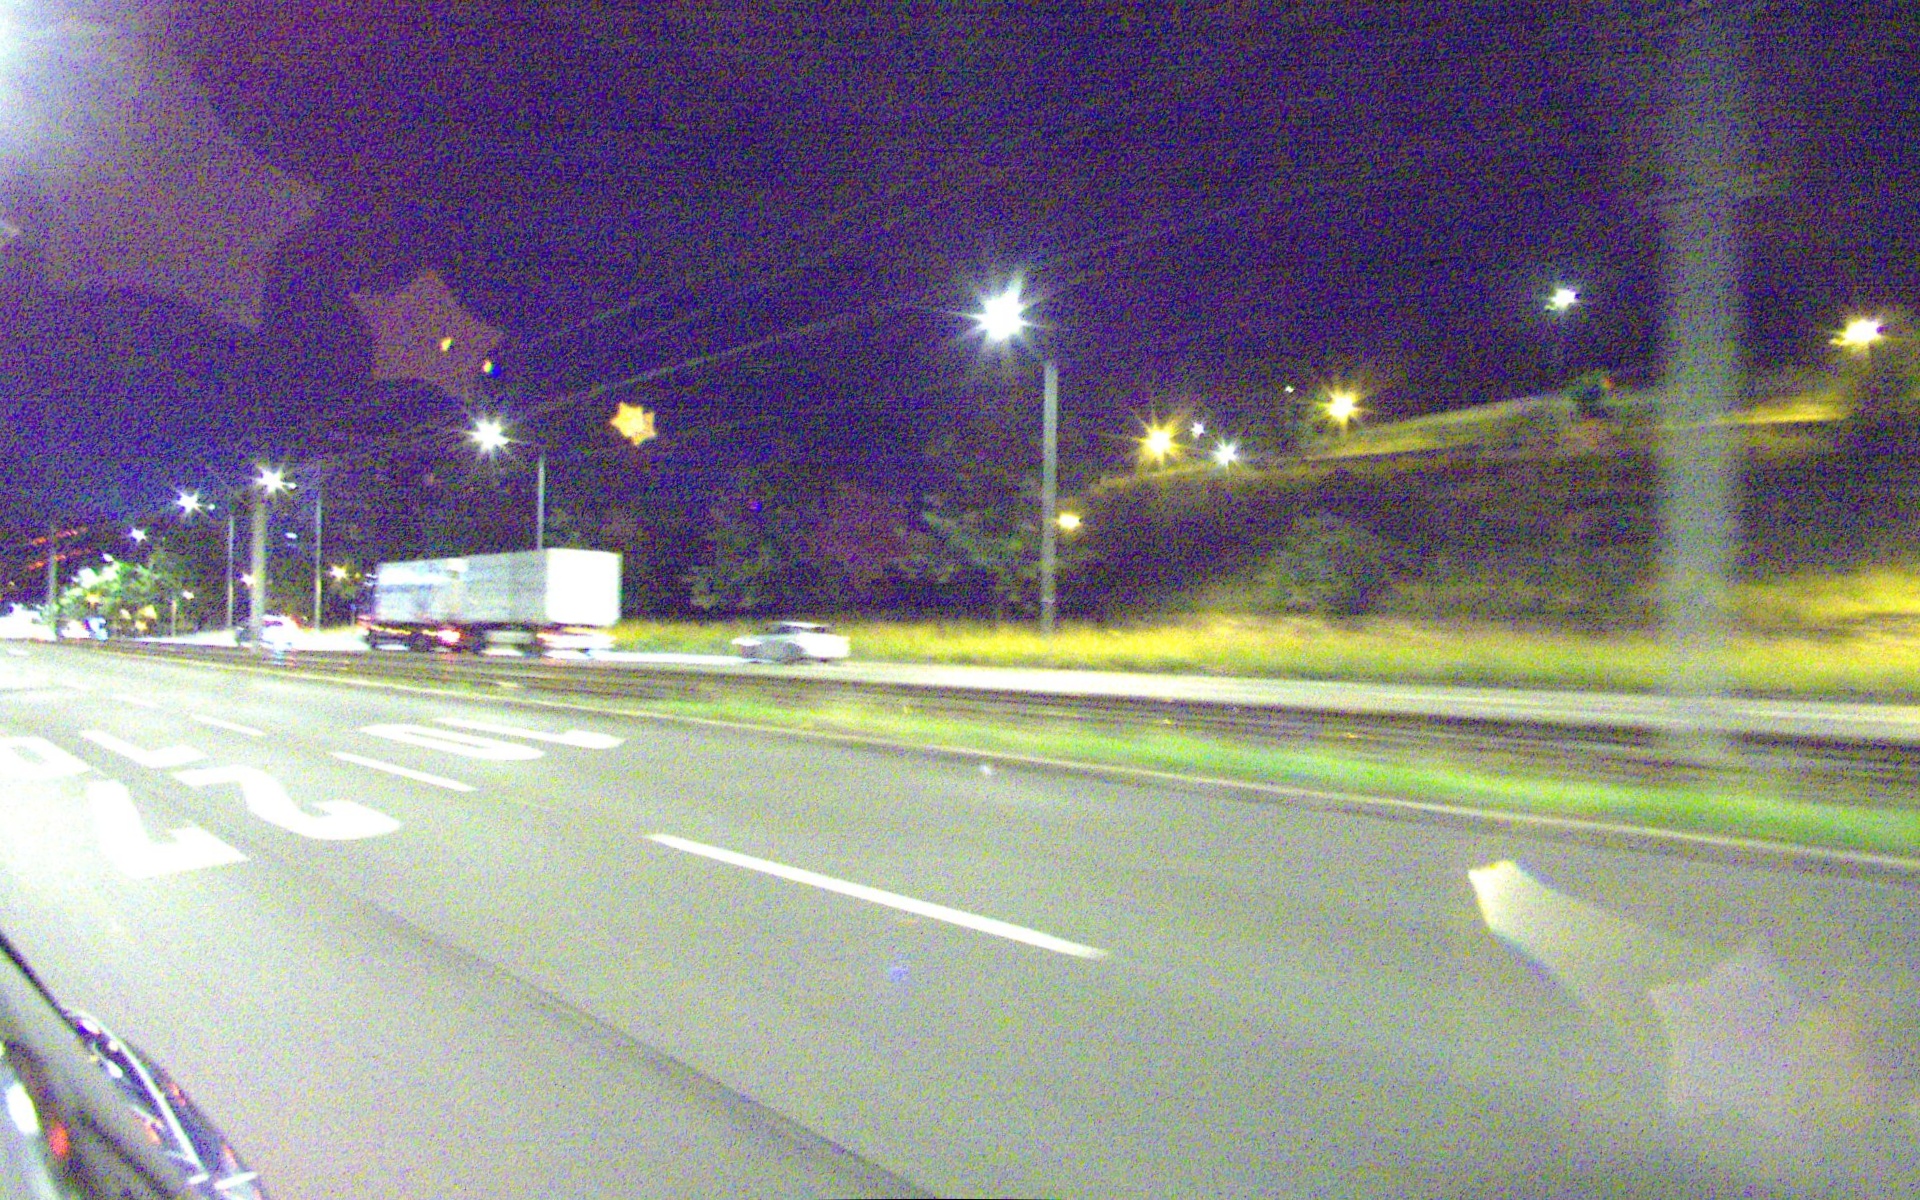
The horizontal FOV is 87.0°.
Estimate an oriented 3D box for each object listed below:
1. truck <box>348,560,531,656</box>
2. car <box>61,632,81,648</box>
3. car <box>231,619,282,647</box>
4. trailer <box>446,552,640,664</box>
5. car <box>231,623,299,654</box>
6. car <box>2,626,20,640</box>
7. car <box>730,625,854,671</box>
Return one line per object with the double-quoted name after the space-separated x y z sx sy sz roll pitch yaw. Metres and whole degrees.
-24.188 0.372 46.696 10.411 3.984 3.645 -1 0 39 "truck"
-123.738 5.529 140.860 2.030 2.029 4.006 -1 0 -40 "car"
-43.444 2.014 62.444 3.960 1.637 1.707 -1 0 41 "car"
-16.869 0.297 40.640 8.387 4.019 3.659 -1 0 39 "trailer"
-35.979 1.977 52.340 4.079 1.510 1.787 -1 -1 38 "car"
-135.760 4.664 144.805 1.769 1.921 4.003 -1 0 -45 "car"
-5.871 1.626 35.069 4.200 1.492 1.966 -1 -3 40 "car"
